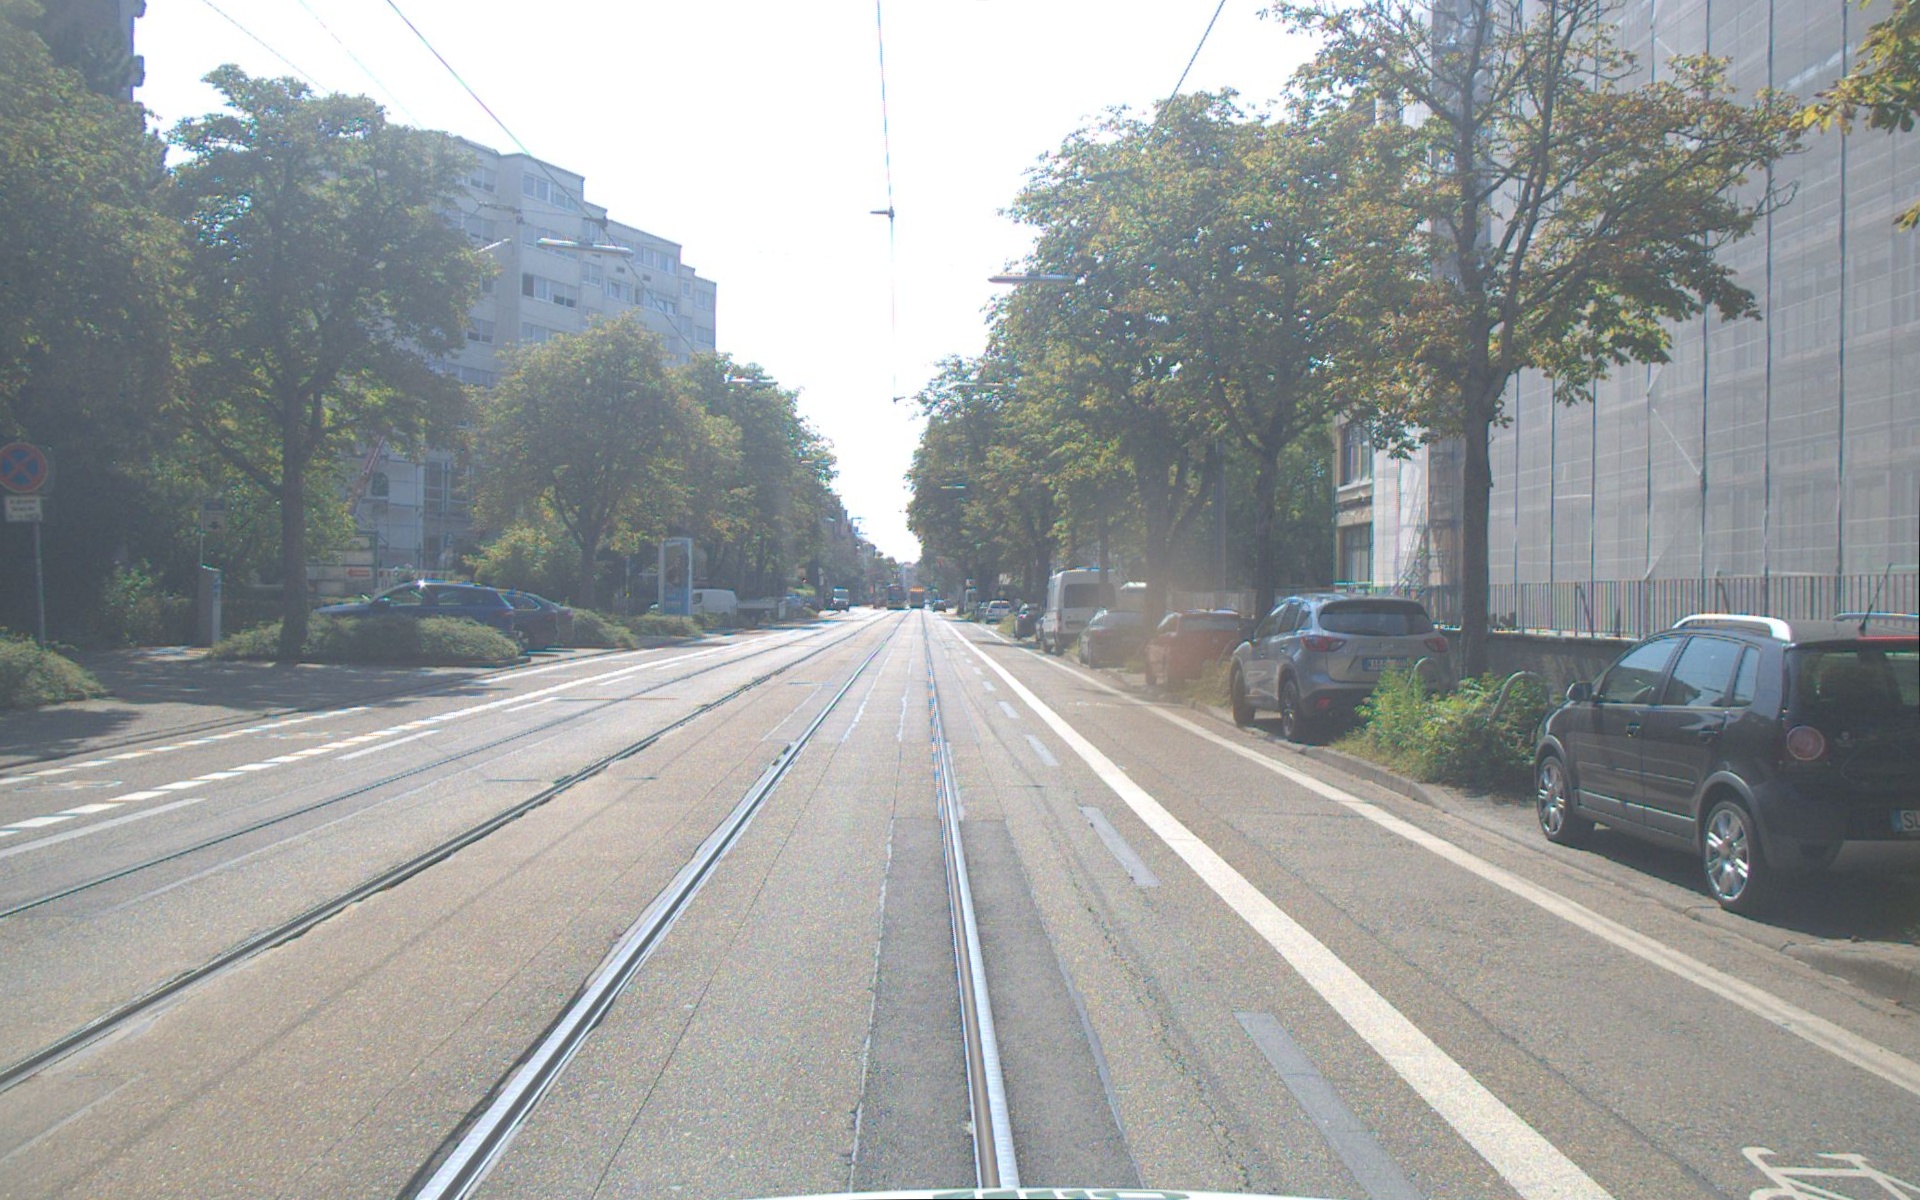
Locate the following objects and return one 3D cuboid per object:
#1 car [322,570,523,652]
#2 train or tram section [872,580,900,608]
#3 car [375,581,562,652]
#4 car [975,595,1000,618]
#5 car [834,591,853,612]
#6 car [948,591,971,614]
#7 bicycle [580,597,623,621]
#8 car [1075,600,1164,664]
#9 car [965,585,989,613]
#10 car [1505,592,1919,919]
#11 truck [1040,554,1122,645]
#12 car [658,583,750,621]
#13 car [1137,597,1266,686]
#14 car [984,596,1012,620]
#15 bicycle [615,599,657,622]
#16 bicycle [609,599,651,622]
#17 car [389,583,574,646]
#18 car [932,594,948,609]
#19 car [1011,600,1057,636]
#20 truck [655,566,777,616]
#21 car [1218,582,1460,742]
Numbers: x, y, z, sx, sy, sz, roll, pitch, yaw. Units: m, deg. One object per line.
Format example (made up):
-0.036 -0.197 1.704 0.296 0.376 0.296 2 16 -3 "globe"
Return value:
-11.610 0.248 35.715 3.935 1.677 1.828 1 0 -25 "car"
-10.537 -0.894 235.982 3.426 3.769 12.411 1 0 0 "train or tram section"
-11.507 0.393 38.756 3.942 1.597 1.764 1 0 -29 "car"
1.955 0.481 117.480 1.607 1.538 3.640 1 -1 -1 "car"
-13.722 0.188 194.913 2.198 2.484 3.996 1 0 -5 "car"
-0.031 0.253 172.168 1.955 2.272 3.995 1 0 -6 "car"
-19.666 0.492 90.672 2.290 1.189 0.602 2 -1 19 "bicycle"
3.893 0.748 40.970 1.651 1.466 4.802 1 0 -1 "car"
1.479 -0.093 145.382 1.953 2.407 3.999 1 0 -1 "car"
4.849 0.770 10.133 1.651 1.597 3.999 1 0 -1 "car"
3.690 0.004 51.281 1.878 2.644 5.589 1 0 -2 "truck"
-12.449 0.108 80.587 4.254 1.803 1.795 1 0 -45 "car"
4.423 0.731 30.827 1.651 1.526 4.130 1 0 -2 "car"
2.369 0.524 103.863 1.754 1.471 3.733 0 0 1 "car"
-18.514 0.610 94.491 2.289 1.189 0.622 2 -1 16 "bicycle"
-18.705 0.589 93.749 2.289 1.189 0.622 2 -1 17 "bicycle"
-12.138 0.380 42.000 4.232 1.523 1.765 1 0 -28 "car"
-2.547 0.202 212.214 1.953 1.832 3.999 1 0 -1 "car"
3.123 0.726 70.498 1.640 1.483 4.662 0 0 -1 "car"
-12.396 -0.442 84.320 5.914 2.477 2.119 1 1 -41 "truck"
4.495 0.672 20.330 1.726 1.718 4.646 1 0 -2 "car"
